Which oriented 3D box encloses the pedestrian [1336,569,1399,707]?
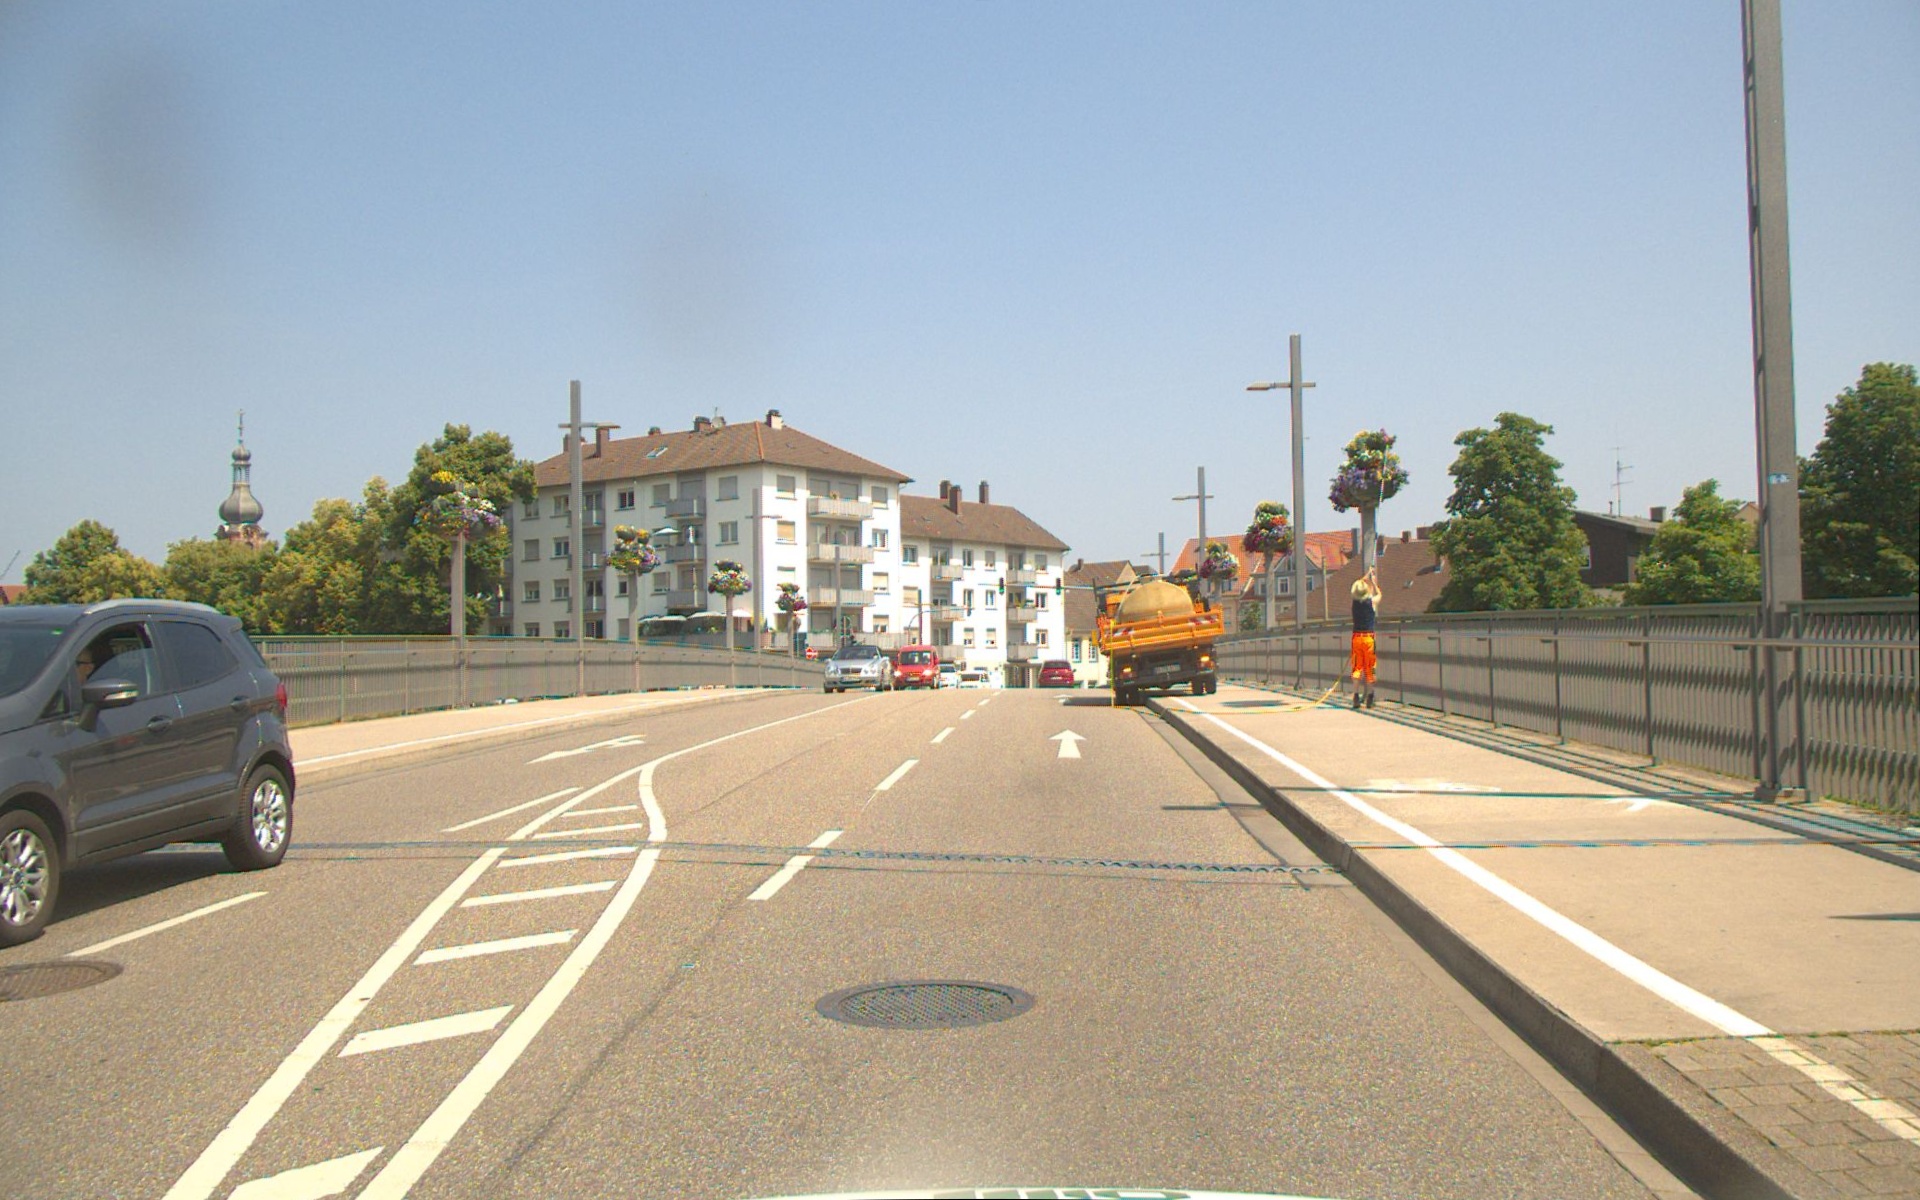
[{"bbox_3d":[5.983,0.558,24.289,0.661,1.994,0.545,0,-3,-21],"label":"pedestrian"}]

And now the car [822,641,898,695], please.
[{"bbox_3d":[-2.895,1.978,48.881,1.663,1.382,4.457,-3,-1,3],"label":"car"}]

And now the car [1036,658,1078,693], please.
[{"bbox_3d":[4.866,3.797,83.393,1.949,1.641,4.342,-2,-2,1],"label":"car"}]

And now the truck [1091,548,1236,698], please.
[{"bbox_3d":[4.046,0.510,33.923,2.551,2.738,5.825,-1,-2,4],"label":"truck"}]

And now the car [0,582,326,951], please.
[{"bbox_3d":[-5.145,0.812,8.966,1.701,1.669,3.922,-2,-1,3],"label":"car"}]

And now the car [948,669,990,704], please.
[{"bbox_3d":[0.566,5.170,99.060,1.721,1.890,4.650,1,-1,10],"label":"car"}]

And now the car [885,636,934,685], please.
[{"bbox_3d":[-1.943,2.347,64.089,1.700,1.808,4.176,-1,-3,0],"label":"car"}]

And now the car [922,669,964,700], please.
[{"bbox_3d":[-0.782,4.101,80.513,1.806,1.457,4.714,1,-3,2],"label":"car"}]
